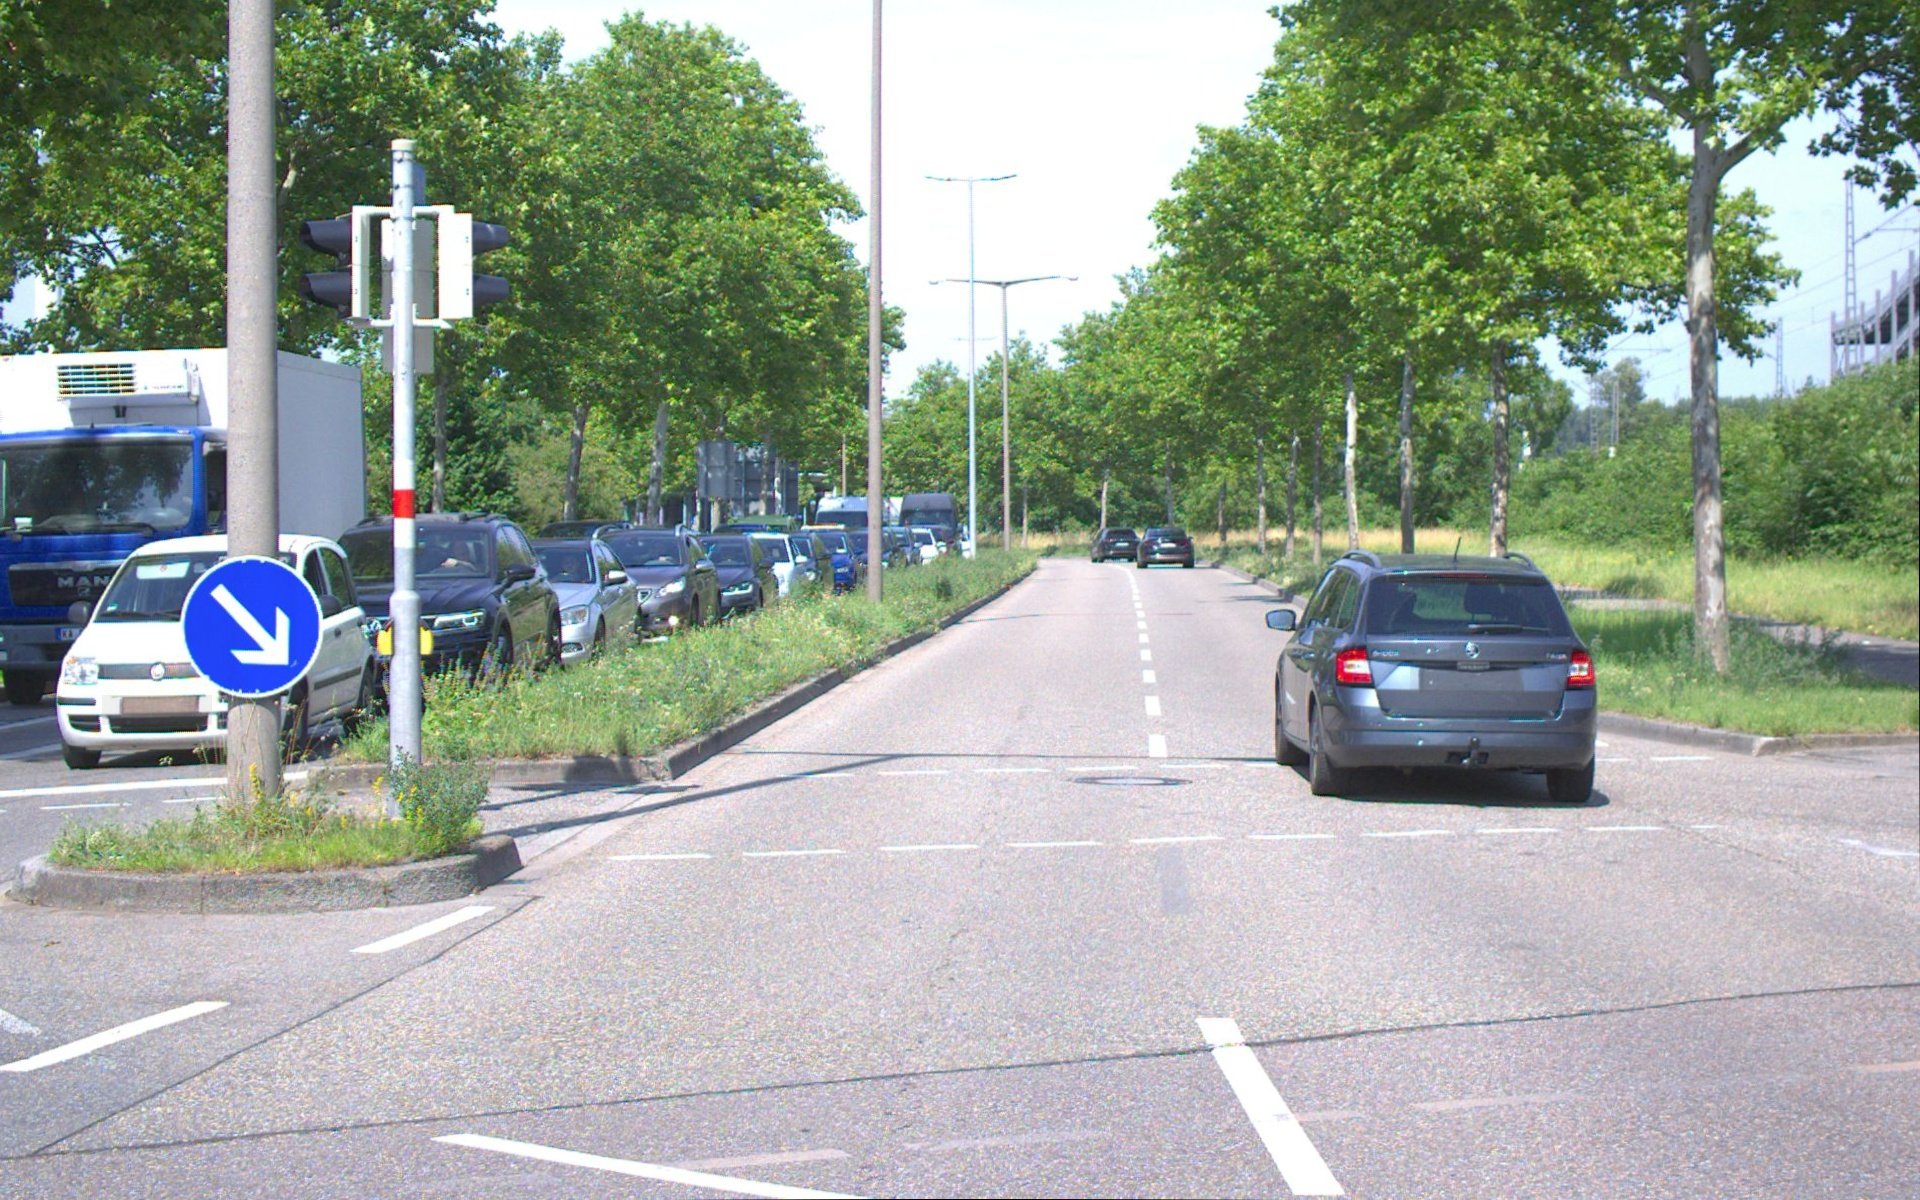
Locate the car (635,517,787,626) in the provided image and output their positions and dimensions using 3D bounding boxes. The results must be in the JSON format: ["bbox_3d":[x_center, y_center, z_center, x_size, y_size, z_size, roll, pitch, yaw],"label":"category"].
[{"bbox_3d":[-3.606,-0.451,50.374,1.689,1.468,4.218,-1,2,3],"label":"car"}]

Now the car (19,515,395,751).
[{"bbox_3d":[-5.086,0.163,23.683,1.593,1.472,3.729,-1,2,3],"label":"car"}]

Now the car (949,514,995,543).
[{"bbox_3d":[0.635,-3.821,184.595,1.802,1.505,3.816,0,2,-10],"label":"car"}]

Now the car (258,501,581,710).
[{"bbox_3d":[-4.549,0.020,29.621,1.820,1.641,4.694,-1,0,3],"label":"car"}]

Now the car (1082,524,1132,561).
[{"bbox_3d":[6.242,-2.445,146.418,1.908,1.458,4.583,1,2,-1],"label":"car"}]

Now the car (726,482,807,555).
[{"bbox_3d":[-5.028,-2.118,89.842,1.689,1.852,4.036,-1,1,3],"label":"car"}]

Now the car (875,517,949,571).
[{"bbox_3d":[-1.323,-1.580,96.126,1.784,1.454,4.472,0,2,3],"label":"car"}]

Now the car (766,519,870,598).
[{"bbox_3d":[-2.802,-0.856,68.610,1.784,1.484,4.211,-1,2,2],"label":"car"}]

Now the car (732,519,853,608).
[{"bbox_3d":[-3.042,-0.709,63.359,1.758,1.524,4.828,-1,2,3],"label":"car"}]

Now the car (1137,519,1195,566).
[{"bbox_3d":[6.955,-1.968,116.520,1.908,1.458,4.621,1,2,3],"label":"car"}]

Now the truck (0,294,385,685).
[{"bbox_3d":[-7.883,-1.090,34.304,2.804,3.459,6.691,-1,2,3],"label":"truck"}]

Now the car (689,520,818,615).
[{"bbox_3d":[-3.323,-0.555,55.928,1.689,1.466,3.814,-1,2,3],"label":"car"}]

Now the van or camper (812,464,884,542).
[{"bbox_3d":[-3.794,-3.325,117.355,2.015,2.579,5.517,-1,2,3],"label":"van or camper"}]

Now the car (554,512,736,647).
[{"bbox_3d":[-3.895,-0.295,43.125,1.689,1.581,4.240,-1,2,3],"label":"car"}]

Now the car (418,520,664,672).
[{"bbox_3d":[-4.333,-0.086,36.232,1.797,1.463,4.522,-1,2,3],"label":"car"}]

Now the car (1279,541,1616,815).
[{"bbox_3d":[2.937,0.407,21.452,1.674,1.448,4.036,2,2,3],"label":"car"}]
